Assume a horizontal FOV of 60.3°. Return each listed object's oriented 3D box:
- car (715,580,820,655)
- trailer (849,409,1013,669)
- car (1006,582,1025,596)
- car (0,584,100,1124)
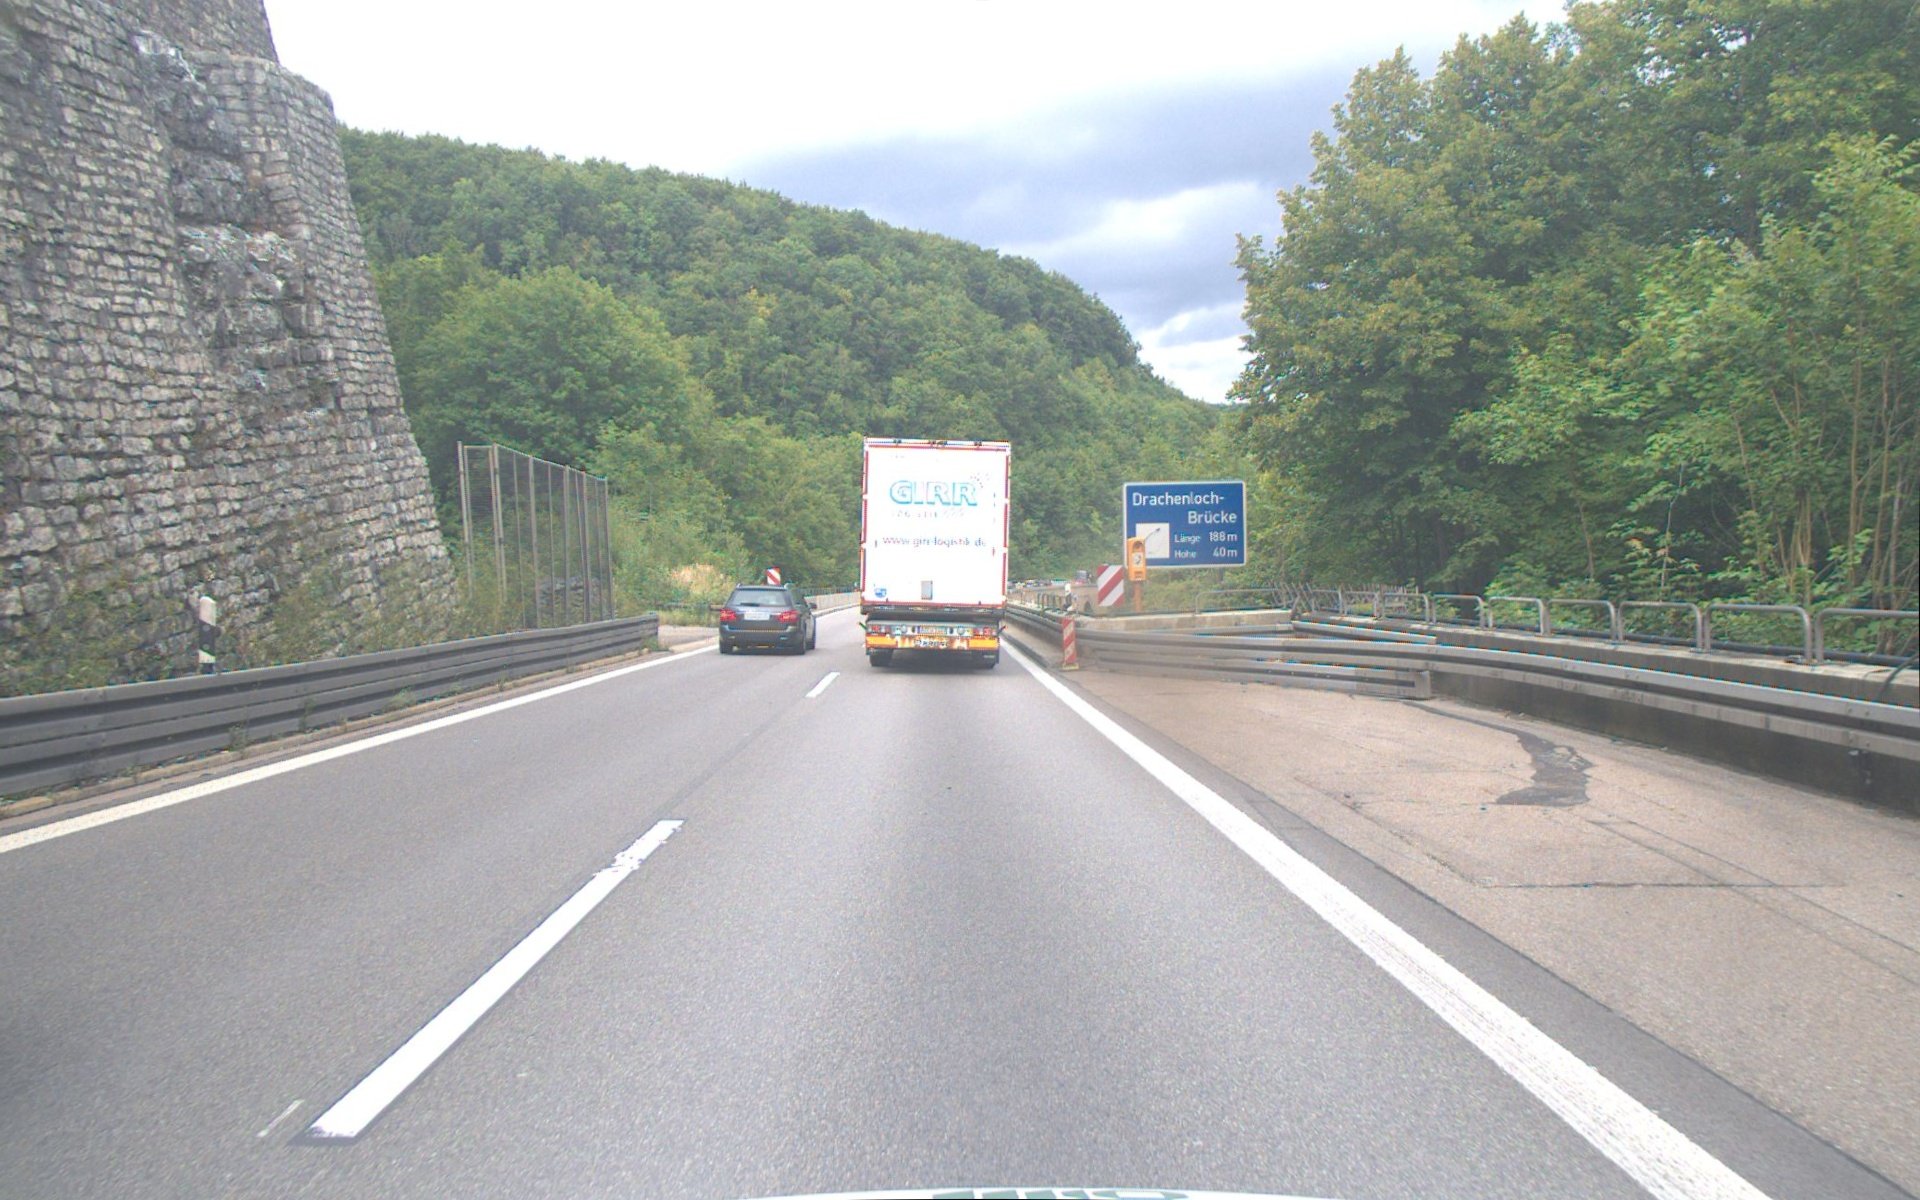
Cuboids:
[{"bbox_3d":[-4.155,0.362,36.302,1.845,1.536,4.418,0,0,-1],"label":"car"},{"bbox_3d":[-0.645,-1.034,34.027,2.756,4.378,12.241,0,0,-1],"label":"trailer"},{"bbox_3d":[7.081,-1.443,209.285,1.951,1.713,4.003,0,0,9],"label":"car"},{"bbox_3d":[-3.467,0.705,2.770,1.737,1.486,4.580,0,0,-1],"label":"car"}]
